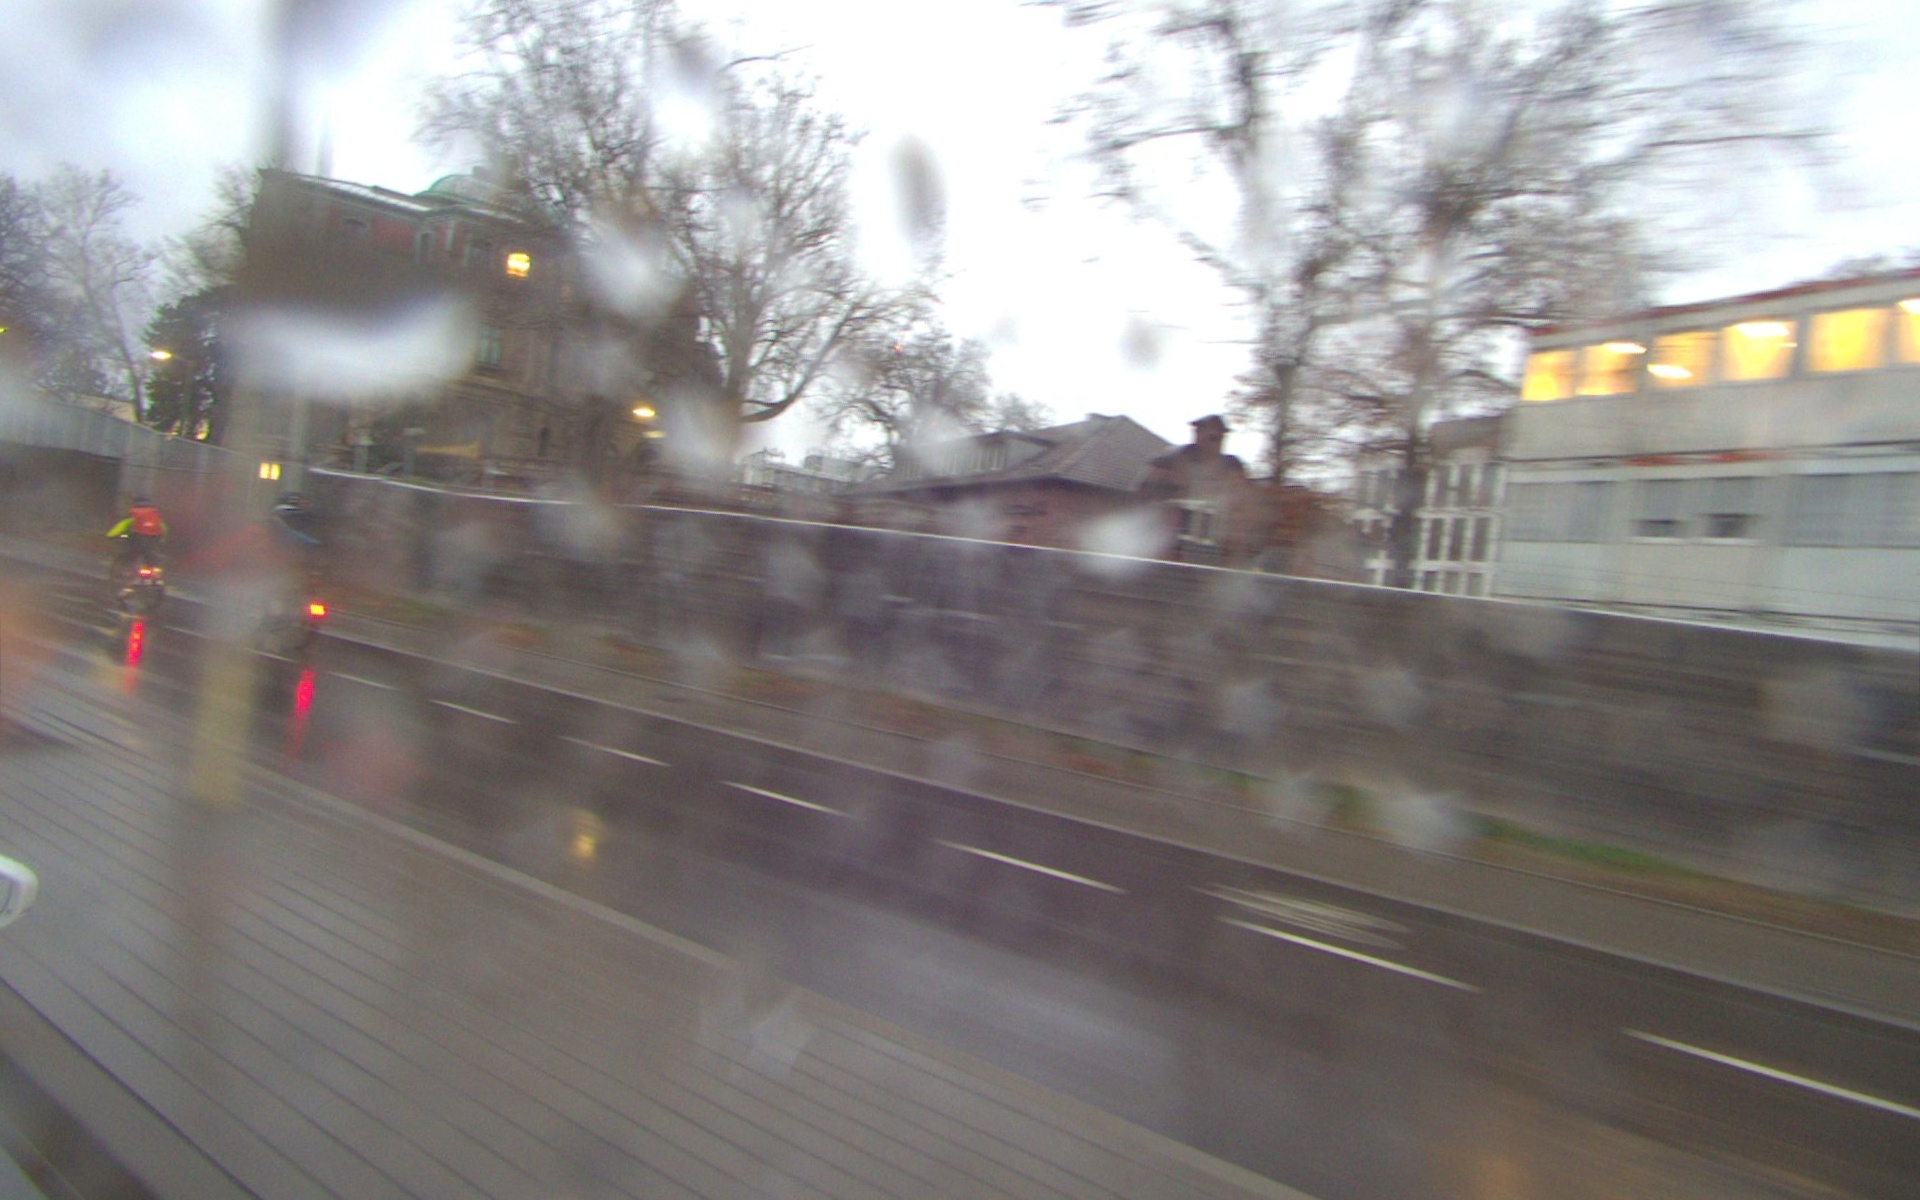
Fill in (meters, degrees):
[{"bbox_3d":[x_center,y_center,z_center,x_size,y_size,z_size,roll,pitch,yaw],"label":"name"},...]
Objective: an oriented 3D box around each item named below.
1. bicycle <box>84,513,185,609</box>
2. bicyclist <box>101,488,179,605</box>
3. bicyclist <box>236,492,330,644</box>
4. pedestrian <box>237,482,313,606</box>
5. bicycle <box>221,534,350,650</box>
[{"bbox_3d":[-12.223,-0.593,14.878,1.915,1.200,0.412,8,1,30],"label":"bicycle"},{"bbox_3d":[-12.080,-0.786,14.823,0.823,1.611,0.500,8,1,30],"label":"bicyclist"},{"bbox_3d":[-8.487,-0.395,12.613,0.823,1.789,0.500,8,1,30],"label":"bicyclist"},{"bbox_3d":[-11.241,-0.917,16.512,0.885,1.903,0.532,8,2,30],"label":"pedestrian"},{"bbox_3d":[-8.514,-0.117,12.669,1.994,1.200,0.412,8,1,30],"label":"bicycle"}]
